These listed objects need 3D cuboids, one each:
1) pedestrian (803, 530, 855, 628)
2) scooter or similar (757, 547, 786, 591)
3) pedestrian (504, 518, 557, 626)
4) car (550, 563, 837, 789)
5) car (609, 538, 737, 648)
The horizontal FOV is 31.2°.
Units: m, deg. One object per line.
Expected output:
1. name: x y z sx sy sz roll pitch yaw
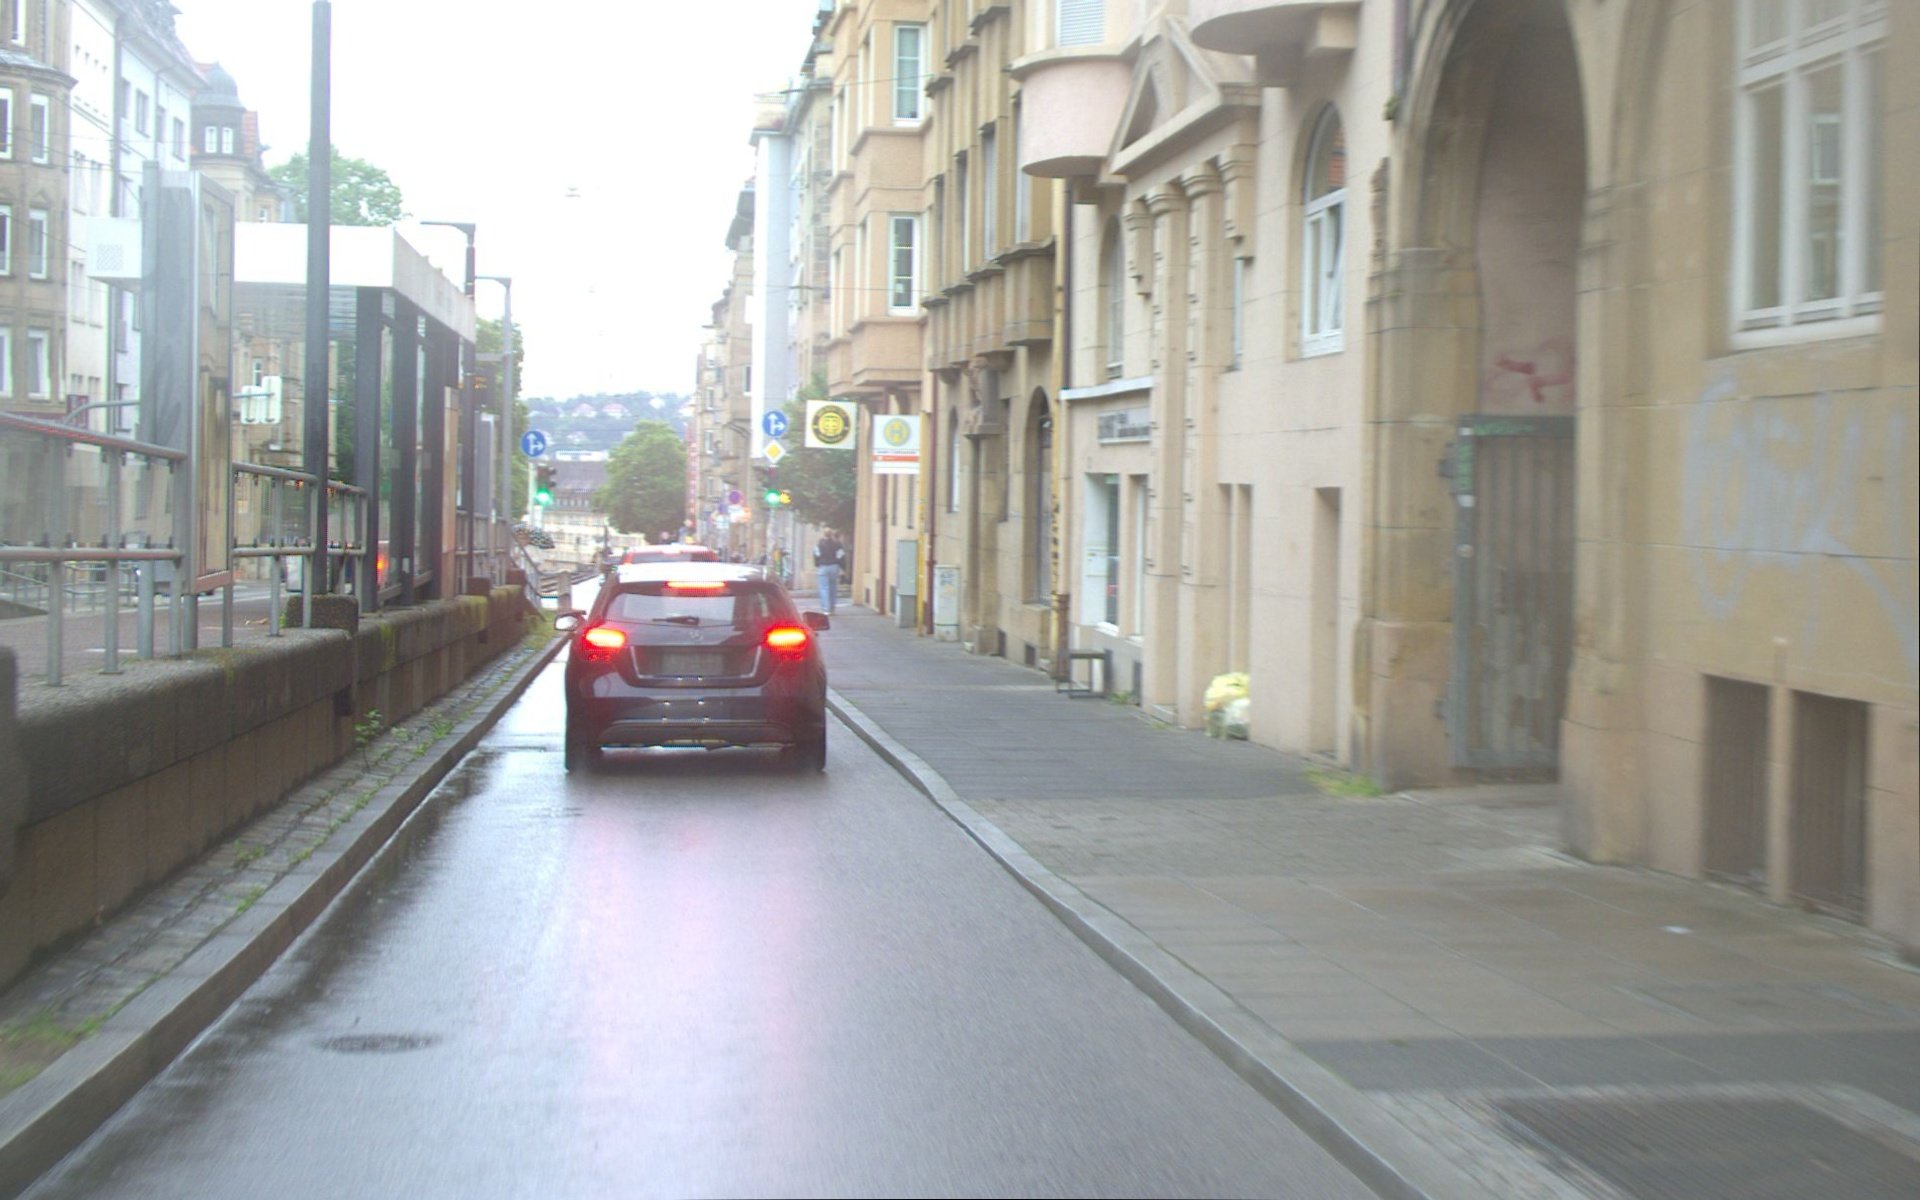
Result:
1. pedestrian: -2.562 -0.416 67.103 0.899 1.834 0.968 -3 1 -3
2. scooter or similar: -5.283 -0.867 96.241 0.637 1.206 1.553 -1 1 -9
3. pedestrian: -8.079 -0.536 64.691 0.926 2.007 0.947 1 1 -5
4. car: -1.896 0.480 24.535 1.866 1.447 4.001 0 1 -4
5. car: -3.923 -0.126 47.480 1.649 1.447 4.001 0 1 -3
